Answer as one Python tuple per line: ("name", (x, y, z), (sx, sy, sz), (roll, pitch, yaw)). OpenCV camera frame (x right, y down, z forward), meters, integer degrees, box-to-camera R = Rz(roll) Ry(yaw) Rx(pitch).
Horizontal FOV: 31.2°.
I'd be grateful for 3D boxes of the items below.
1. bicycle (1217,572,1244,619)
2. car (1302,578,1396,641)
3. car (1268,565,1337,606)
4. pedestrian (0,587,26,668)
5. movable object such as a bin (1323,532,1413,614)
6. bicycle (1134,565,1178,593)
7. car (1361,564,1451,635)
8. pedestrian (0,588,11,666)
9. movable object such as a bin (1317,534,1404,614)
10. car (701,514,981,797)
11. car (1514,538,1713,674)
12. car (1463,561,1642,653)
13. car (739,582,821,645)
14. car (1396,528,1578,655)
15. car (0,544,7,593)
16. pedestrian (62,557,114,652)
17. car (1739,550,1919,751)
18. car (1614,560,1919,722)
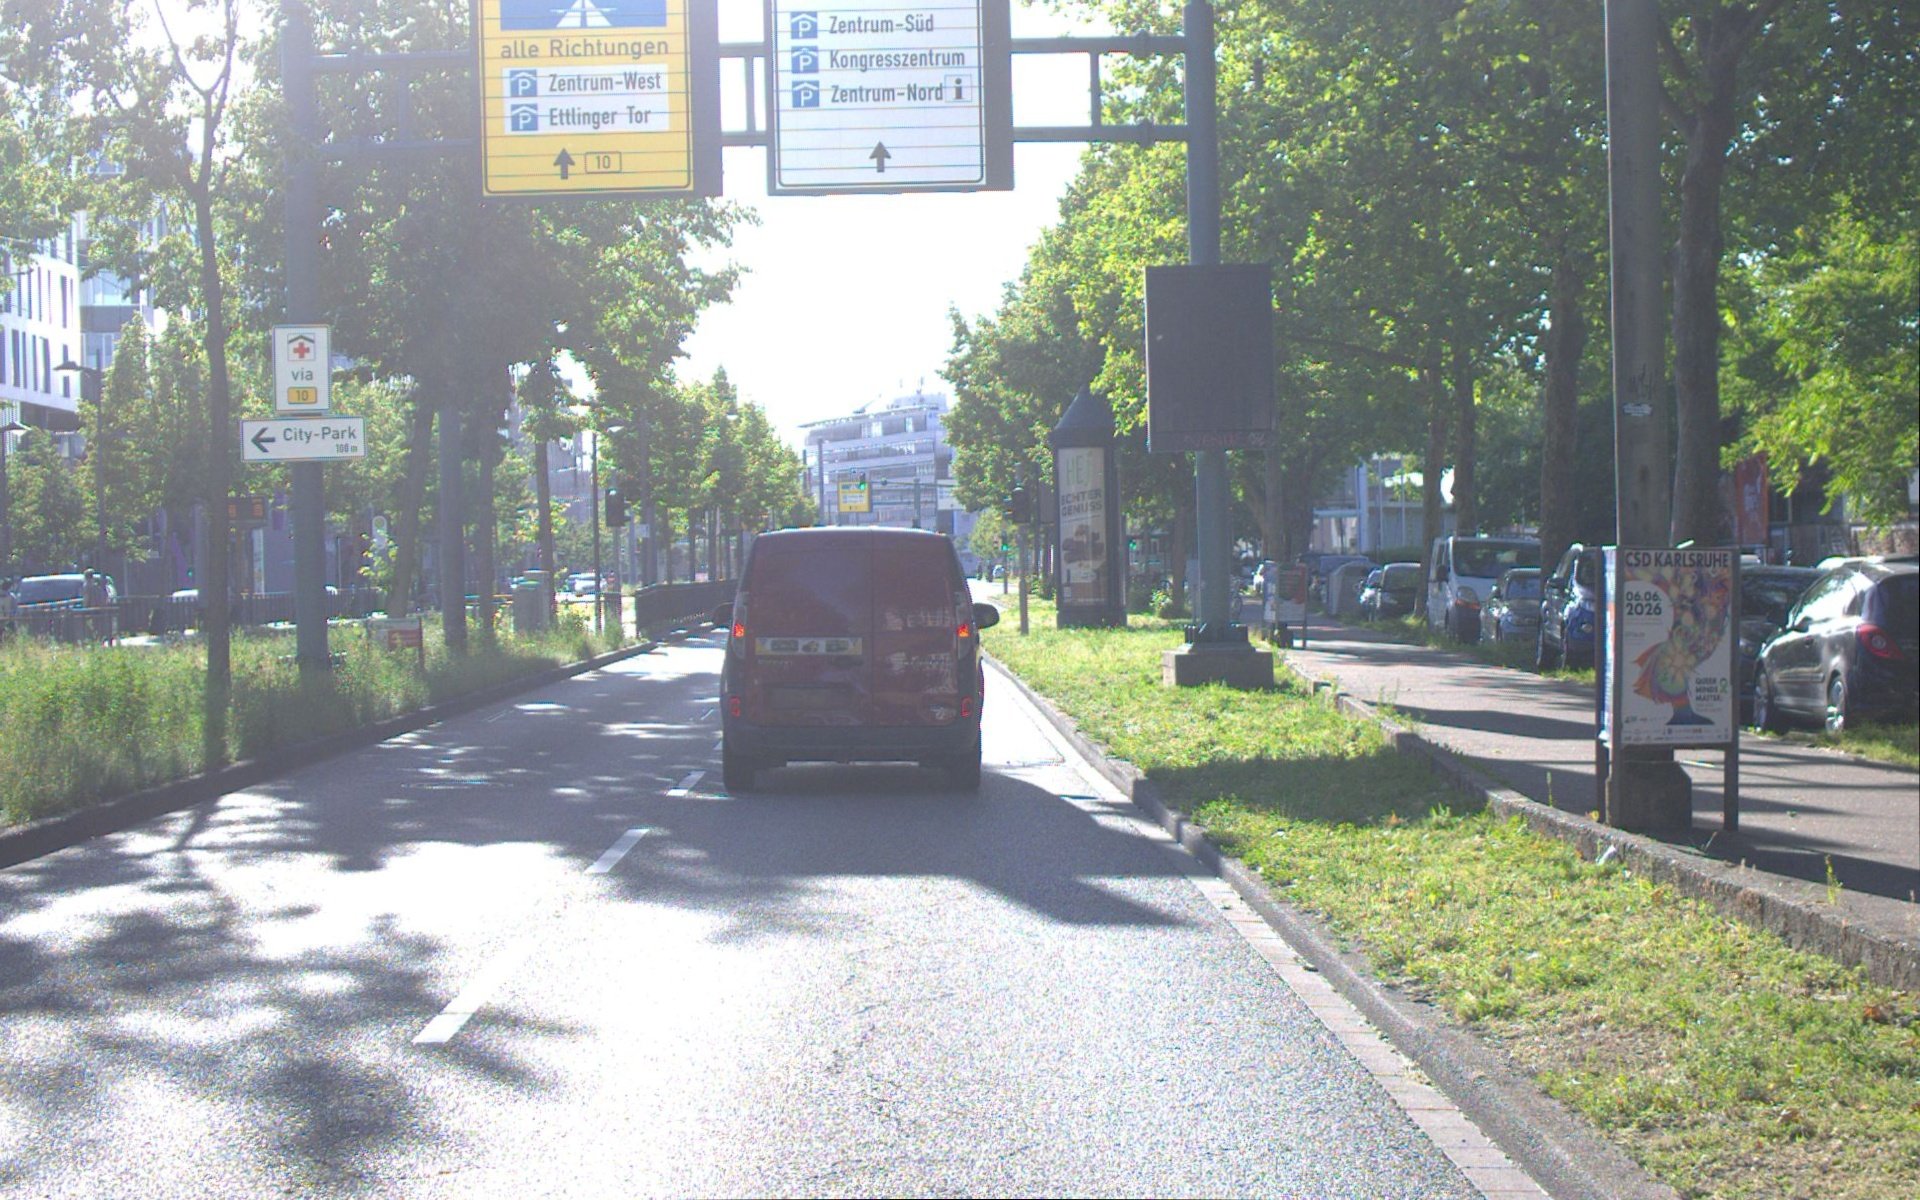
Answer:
("bicycle", (6.196, -0.103, 78.880), (0.493, 1.043, 1.904), (1, 0, 1))
("car", (8.894, 0.216, 78.991), (2.000, 1.380, 4.744), (1, 0, 5))
("car", (11.695, -0.489, 117.538), (1.871, 1.363, 4.000), (1, 0, -1))
("pedestrian", (-18.129, 0.519, 65.339), (0.550, 1.513, 0.588), (1, 0, 4))
("movable object such as a bin", (10.132, -0.666, 85.480), (2.081, 2.007, 2.136), (1, 0, 3))
("bicycle", (8.782, -0.933, 153.848), (1.918, 1.264, 0.479), (0, 0, 1))
("car", (9.730, -0.015, 75.182), (1.662, 1.495, 2.989), (1, 0, 2))
("pedestrian", (-18.618, 0.512, 66.106), (0.543, 1.491, 0.603), (1, 0, 3))
("movable object such as a bin", (10.265, -0.656, 88.244), (2.081, 2.007, 2.136), (1, 0, 3))
("car", (-0.902, 0.365, 24.471), (1.808, 1.831, 4.000), (1, 0, -4))
("car", (8.303, 0.067, 44.021), (1.736, 1.636, 4.352), (1, 0, 1))
("car", (8.759, 0.100, 51.137), (1.993, 1.285, 4.053), (1, 0, 1))
("car", (-4.736, 0.340, 91.044), (1.993, 1.612, 4.000), (1, 0, -1))
("car", (8.756, -0.138, 57.607), (2.190, 2.007, 5.820), (1, 0, 1))
("car", (-40.511, -1.309, 140.152), (1.993, 2.007, 4.563), (1, 0, 0))
("pedestrian", (-16.947, 0.093, 66.824), (0.820, 1.829, 0.726), (1, 0, -3))
("car", (7.333, 0.368, 26.569), (1.793, 1.433, 3.884), (1, 0, 1))
("car", (7.556, 0.350, 32.514), (1.994, 1.377, 4.677), (1, 0, 2))
